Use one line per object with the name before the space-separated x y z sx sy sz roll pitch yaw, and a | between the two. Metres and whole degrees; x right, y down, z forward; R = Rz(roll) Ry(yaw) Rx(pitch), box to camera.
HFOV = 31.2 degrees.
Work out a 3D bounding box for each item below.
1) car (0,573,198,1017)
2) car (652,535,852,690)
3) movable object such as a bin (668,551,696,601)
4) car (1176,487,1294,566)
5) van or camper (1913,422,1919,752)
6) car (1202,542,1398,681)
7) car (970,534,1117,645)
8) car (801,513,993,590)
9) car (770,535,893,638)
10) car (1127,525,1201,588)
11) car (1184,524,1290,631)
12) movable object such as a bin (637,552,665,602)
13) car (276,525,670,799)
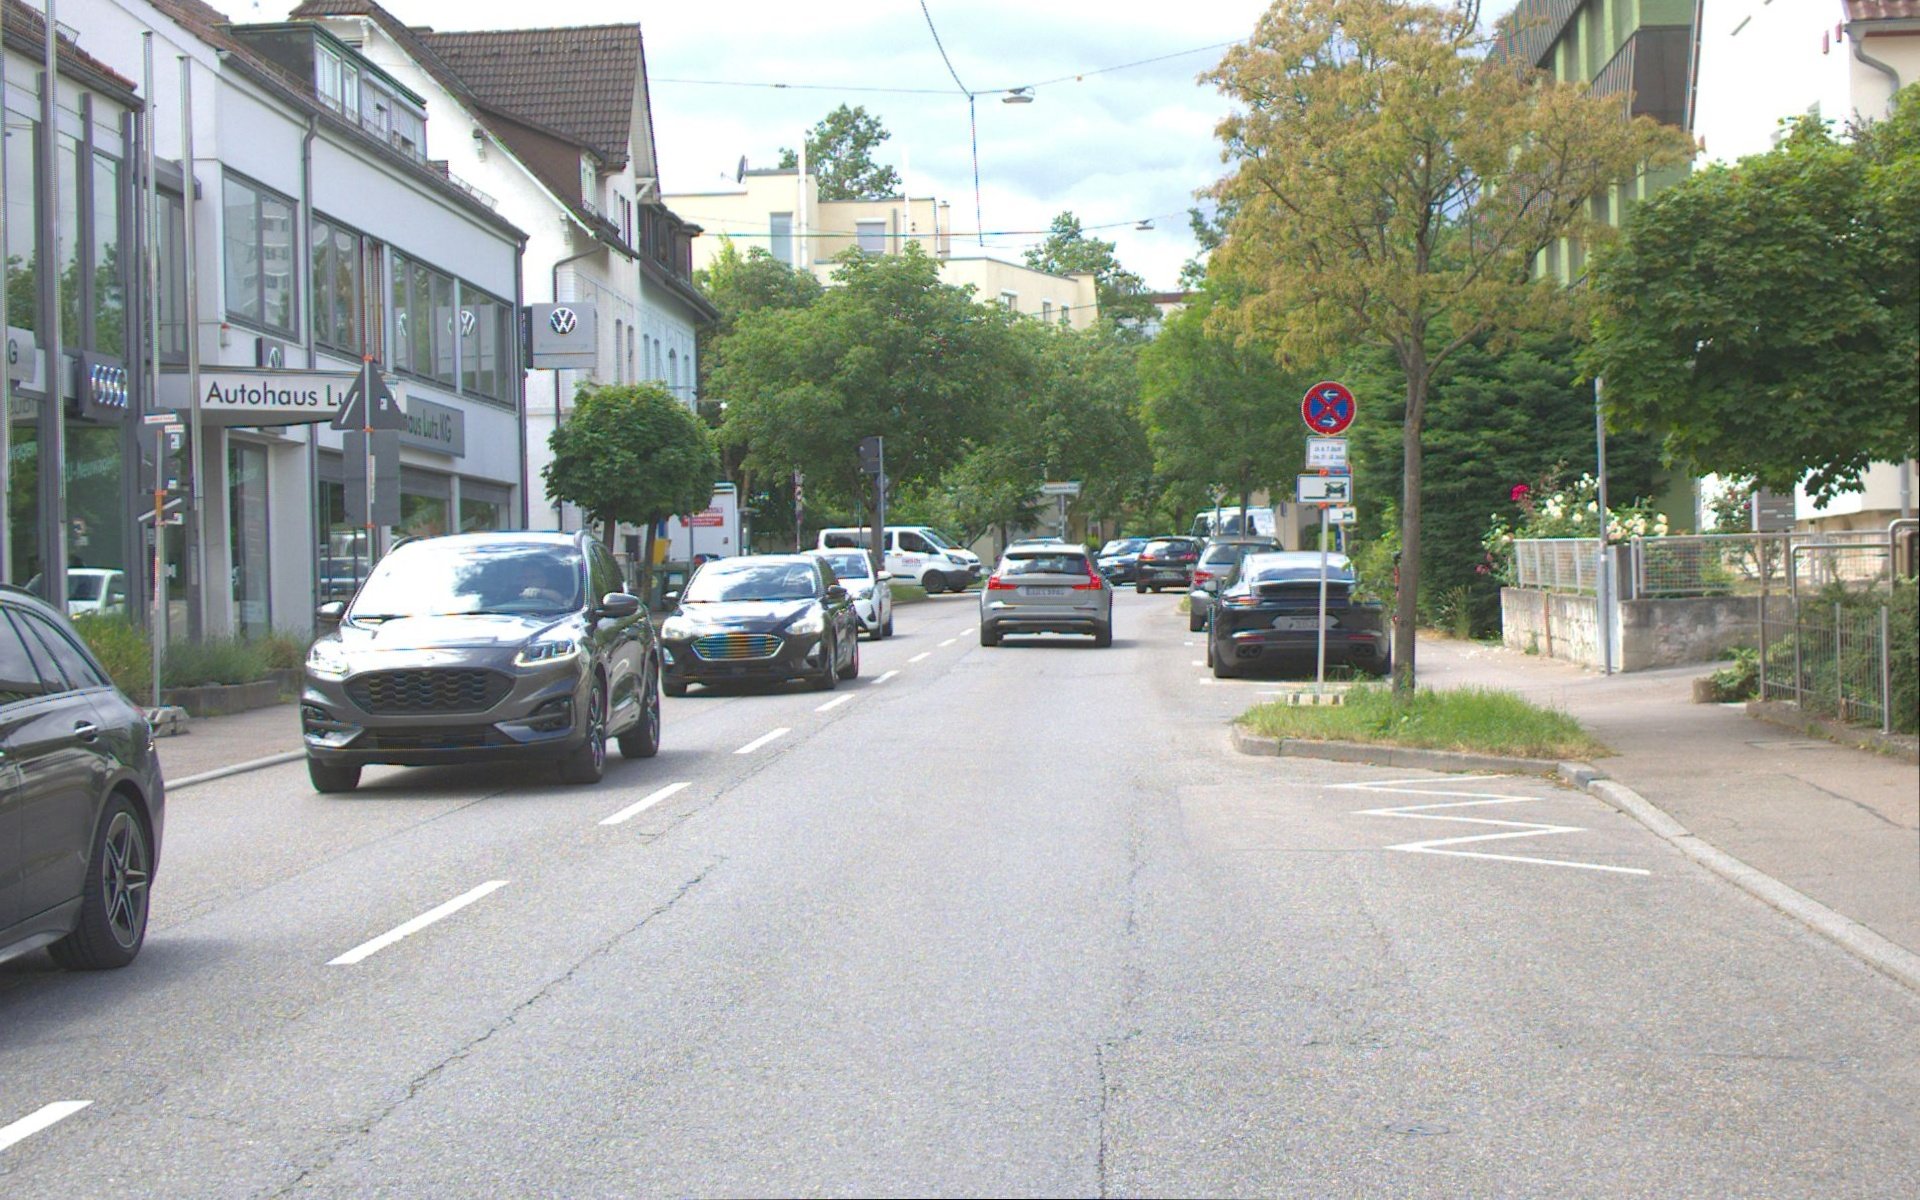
car | -4.016 0.678 11.262 1.740 1.424 4.523 -2 1 4
car | -2.173 0.116 36.899 1.831 1.518 4.171 -1 0 0
movable object such as a bin | -6.218 -0.534 76.914 0.564 1.097 0.563 1 0 -1
car | 9.202 -2.468 114.472 2.065 2.345 5.176 -3 1 26
van or camper | 6.743 -0.072 18.952 1.867 2.025 4.547 0 0 2
car | 3.809 0.106 39.214 1.984 1.443 4.751 -1 0 3
car | 1.260 -0.140 49.956 1.956 1.518 4.328 -1 0 4
car | -1.866 -1.448 102.159 5.217 1.987 2.106 -3 1 20
car | -2.062 -0.224 56.195 1.690 1.574 3.800 -1 0 2
car | 5.100 -1.076 86.135 1.614 1.518 3.569 -1 0 0
car | 4.712 -0.420 58.464 1.690 1.660 4.462 -1 2 5
movable object such as a bin | -6.913 -0.518 76.950 0.564 1.097 0.563 1 0 -1
car | -3.156 0.336 23.155 1.831 1.624 4.321 -1 1 2
